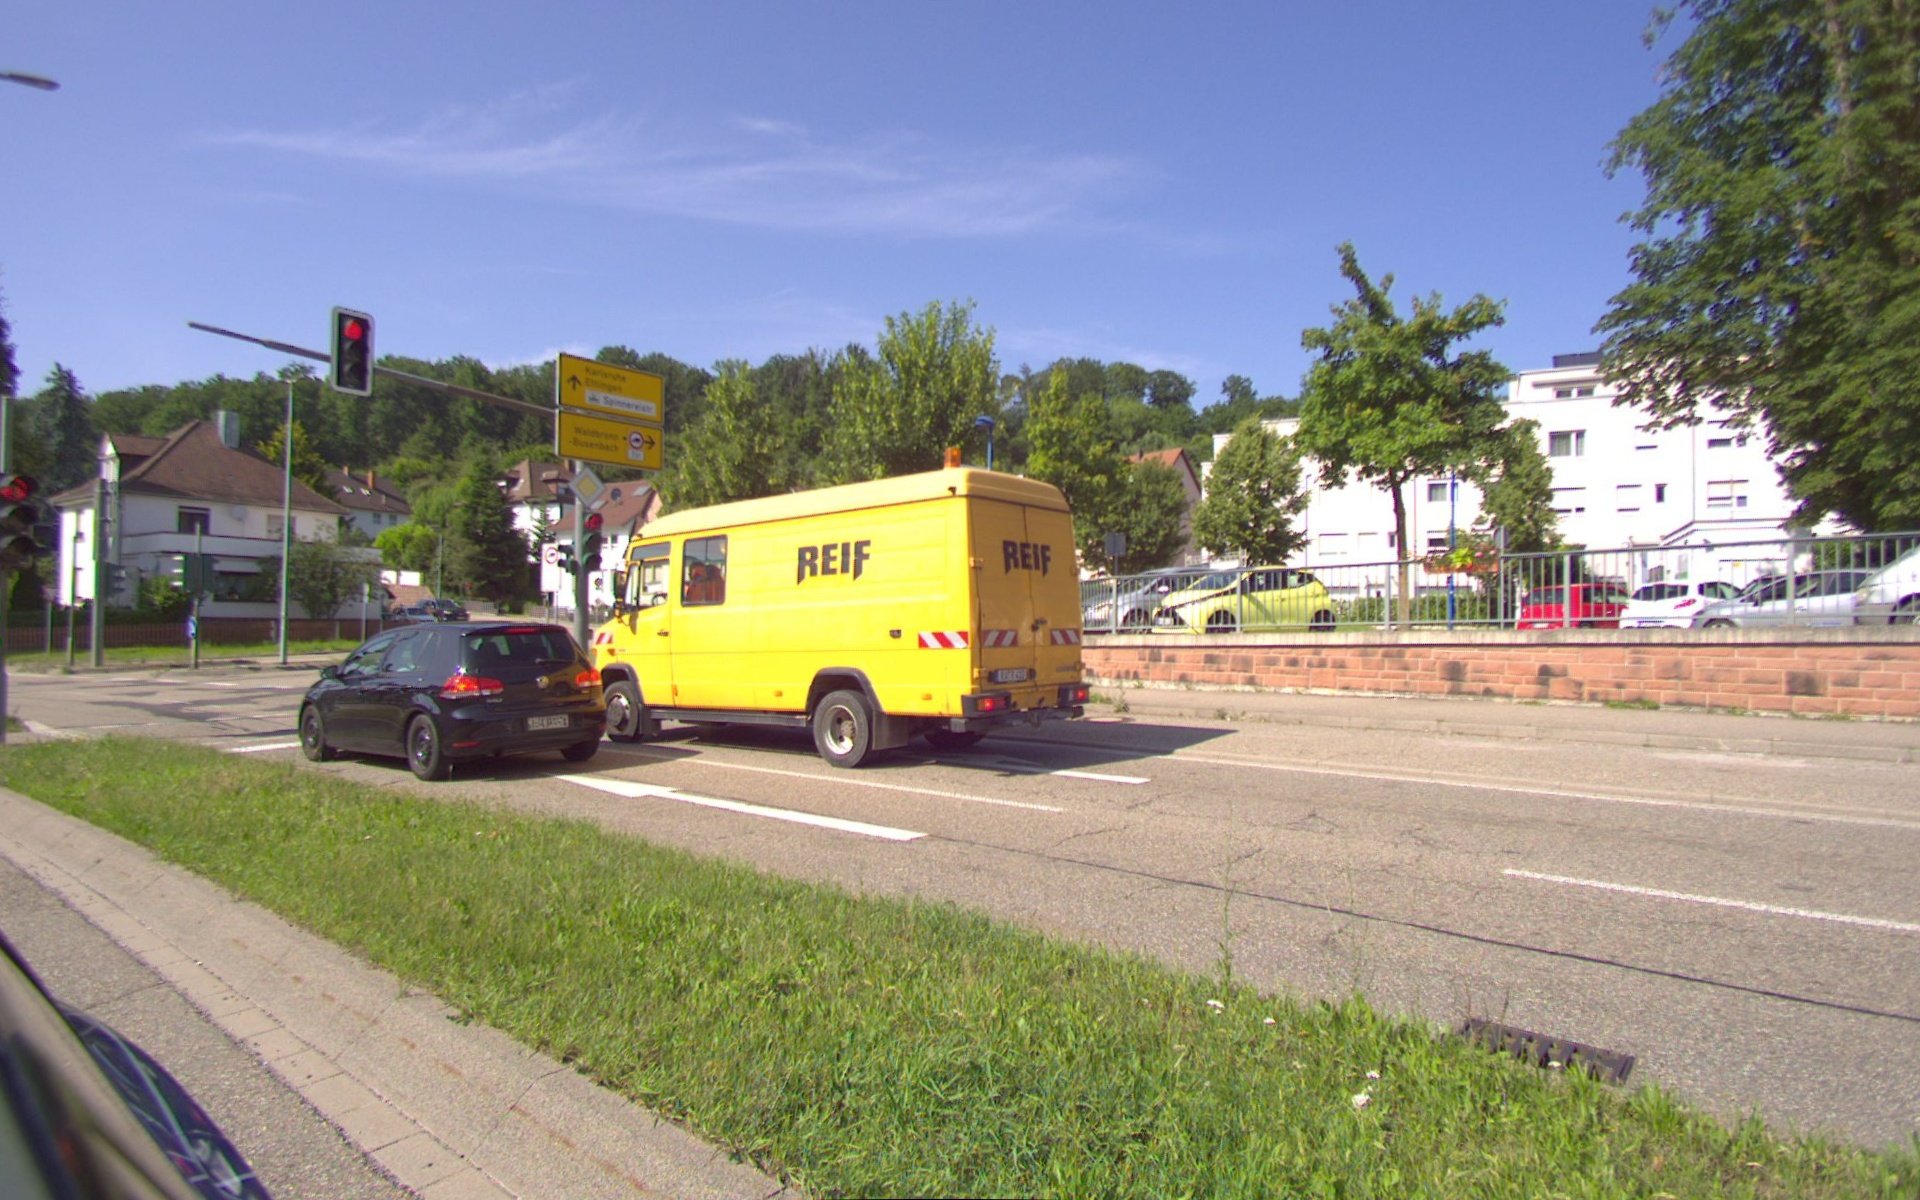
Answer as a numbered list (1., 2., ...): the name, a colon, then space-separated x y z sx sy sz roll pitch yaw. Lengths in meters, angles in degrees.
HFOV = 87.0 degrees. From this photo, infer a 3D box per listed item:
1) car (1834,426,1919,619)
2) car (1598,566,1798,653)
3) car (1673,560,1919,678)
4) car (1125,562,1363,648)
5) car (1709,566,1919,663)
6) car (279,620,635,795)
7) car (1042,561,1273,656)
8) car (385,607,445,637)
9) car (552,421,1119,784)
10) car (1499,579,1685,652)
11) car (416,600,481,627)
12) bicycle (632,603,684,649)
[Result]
1. car: 14.435 -1.108 11.978 2.066 2.462 5.798 -2 -1 -36
2. car: 16.829 0.206 23.081 3.931 1.714 1.920 -3 -1 -24
3. car: 14.918 0.319 17.332 1.888 1.803 4.013 0 -1 -21
4. car: 5.367 0.085 19.206 3.931 1.392 1.920 -3 0 -21
5. car: 17.389 0.258 20.176 3.931 1.684 2.006 -3 0 -19
6. car: -5.303 0.966 10.483 4.038 1.474 1.729 -2 -2 38
7. car: 4.210 0.144 21.653 4.339 1.709 2.064 -3 1 -21
8. car: -33.027 1.347 61.259 3.999 1.649 1.914 -3 -1 42
9. car: -1.686 0.059 11.416 6.456 3.033 2.444 -1 0 38
10. car: 15.797 0.363 25.313 3.931 1.571 1.920 -3 0 -21
11. car: -34.648 0.862 68.469 4.741 1.495 1.957 3 4 35
12. bicycle: -9.269 0.799 31.071 1.756 1.264 0.612 -5 1 42
